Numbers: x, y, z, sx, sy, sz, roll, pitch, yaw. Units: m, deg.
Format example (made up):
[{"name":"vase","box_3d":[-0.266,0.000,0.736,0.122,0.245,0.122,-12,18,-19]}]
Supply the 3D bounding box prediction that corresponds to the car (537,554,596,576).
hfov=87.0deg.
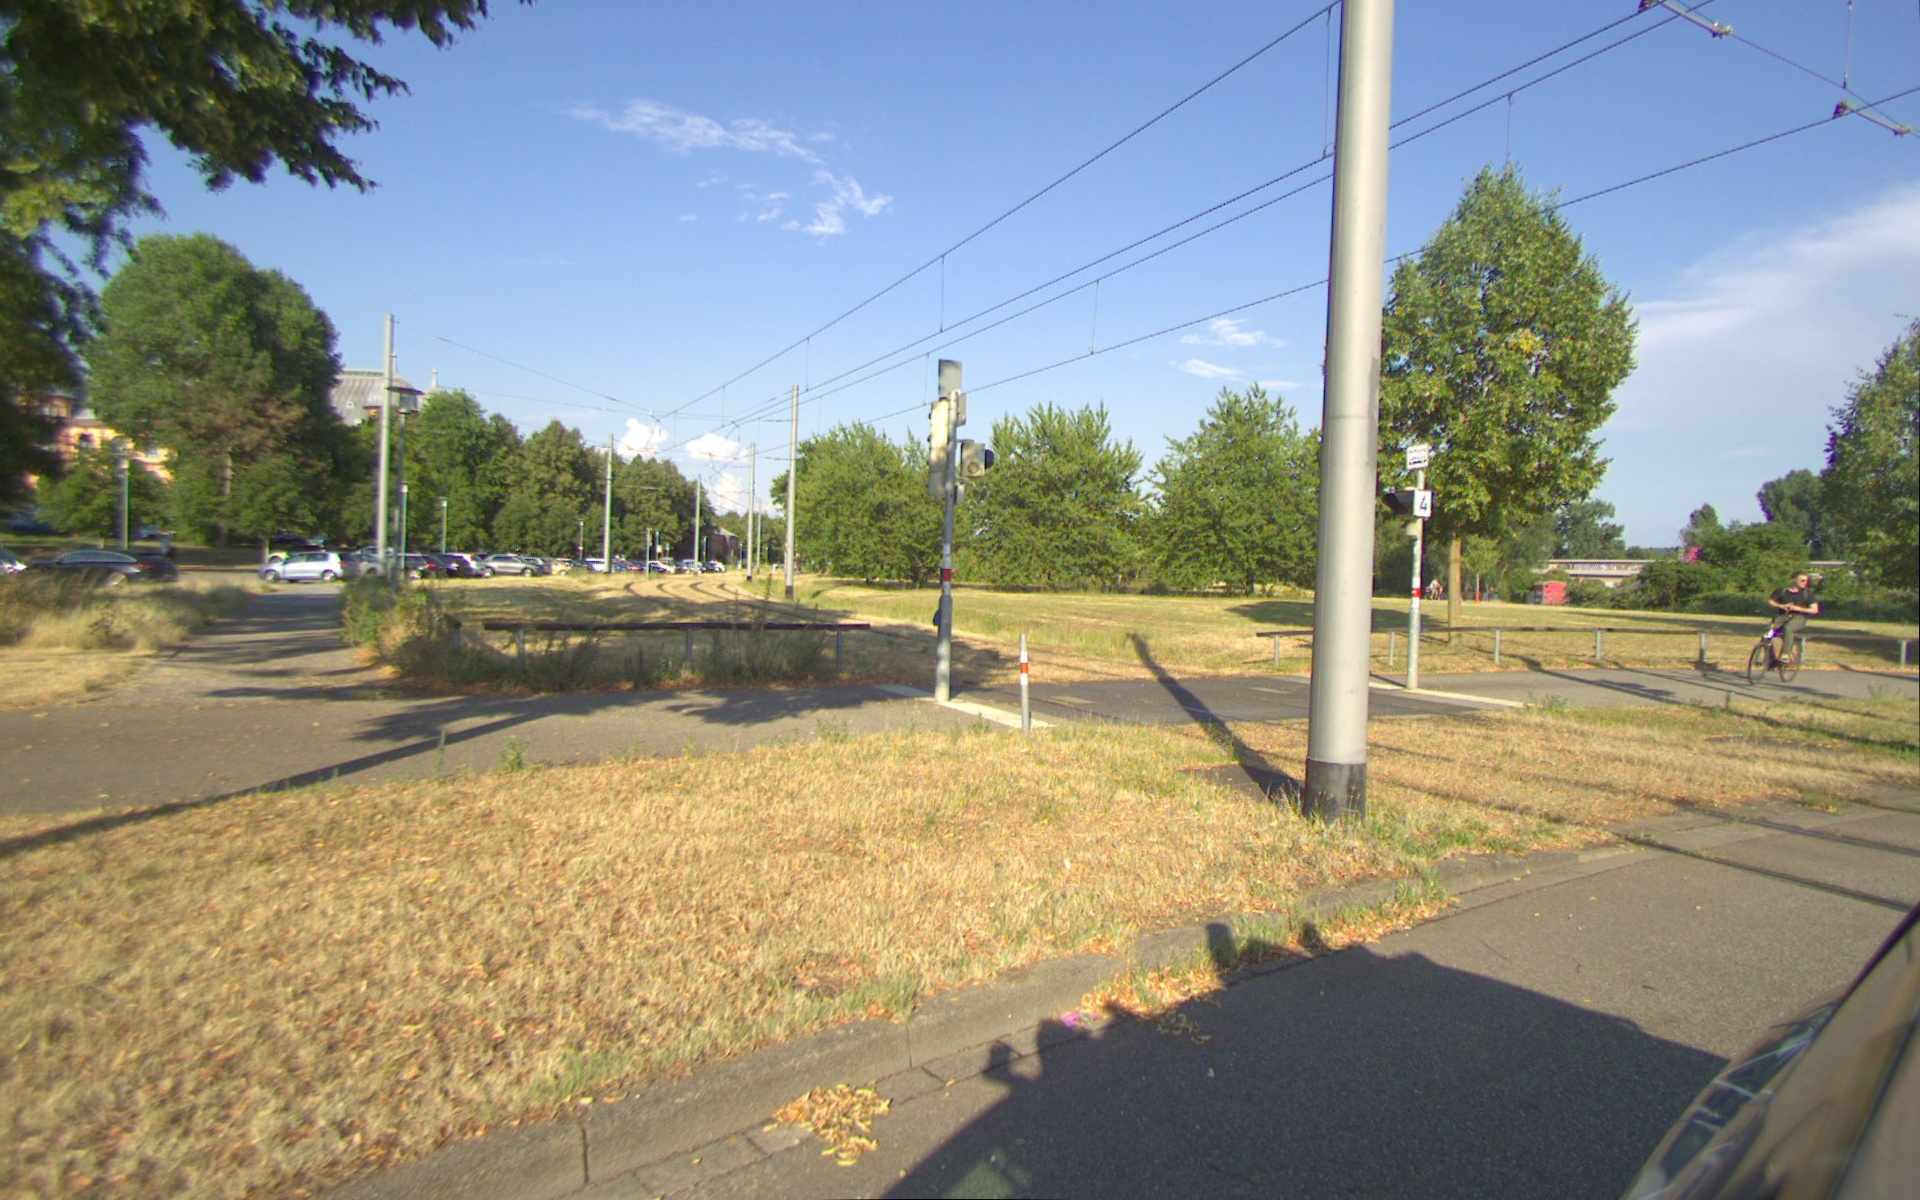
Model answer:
[{"name":"car","box_3d":[-30.731,-2.725,79.054,3.922,1.588,1.829,2,2,-2]}]

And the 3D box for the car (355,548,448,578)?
[{"name":"car","box_3d":[-29.644,-1.968,53.759,3.922,1.420,1.829,2,2,-2]}]

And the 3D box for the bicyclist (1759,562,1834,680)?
[{"name":"bicyclist","box_3d":[13.716,0.330,16.595,0.814,1.852,0.621,1,3,-34]}]

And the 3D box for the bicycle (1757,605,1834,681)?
[{"name":"bicycle","box_3d":[13.735,0.686,16.618,1.854,1.172,0.416,0,3,-34]}]

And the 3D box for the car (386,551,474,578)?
[{"name":"car","box_3d":[-29.546,-1.979,56.491,3.922,1.420,1.829,2,2,-2]}]

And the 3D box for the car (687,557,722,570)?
[{"name":"car","box_3d":[-32.172,-4.581,127.491,3.922,1.420,1.829,2,2,-2]}]

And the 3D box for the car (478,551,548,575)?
[{"name":"car","box_3d":[-29.936,-2.473,67.835,3.922,1.420,1.829,2,2,-2]}]

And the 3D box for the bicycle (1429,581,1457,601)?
[{"name":"bicycle","box_3d":[36.383,-0.707,76.248,0.385,1.468,1.944,1,0,-33]}]

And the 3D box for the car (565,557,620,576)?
[{"name":"car","box_3d":[-30.356,-2.777,83.681,3.922,1.420,1.829,2,2,-2]}]

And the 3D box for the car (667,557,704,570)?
[{"name":"car","box_3d":[-32.384,-4.300,119.332,3.922,1.420,1.829,2,2,-2]}]

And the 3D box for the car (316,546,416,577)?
[{"name":"car","box_3d":[-29.757,-1.918,50.767,3.922,1.420,1.829,2,2,-2]}]

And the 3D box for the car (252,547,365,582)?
[{"name":"car","box_3d":[-29.630,-1.612,46.107,3.922,1.420,1.829,2,2,-2]}]

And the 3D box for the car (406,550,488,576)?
[{"name":"car","box_3d":[-30.005,-2.153,59.276,3.922,1.420,1.829,2,2,-2]}]

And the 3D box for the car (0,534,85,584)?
[{"name":"car","box_3d":[-28.395,-1.246,29.843,3.896,1.419,1.606,2,2,3]}]

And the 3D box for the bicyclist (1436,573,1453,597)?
[{"name":"bicyclist","box_3d":[36.446,-1.132,76.175,0.625,1.802,0.929,1,-1,-33]}]

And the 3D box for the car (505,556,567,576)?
[{"name":"car","box_3d":[-31.706,-2.543,75.778,3.922,1.420,1.829,2,2,-2]}]

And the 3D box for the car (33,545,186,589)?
[{"name":"car","box_3d":[-28.590,-1.110,34.066,3.896,1.326,1.606,2,2,3]}]

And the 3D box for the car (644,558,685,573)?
[{"name":"car","box_3d":[-31.789,-3.720,109.039,3.922,1.420,1.829,2,2,-2]}]

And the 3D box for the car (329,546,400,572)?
[{"name":"car","box_3d":[-41.879,-2.848,71.267,3.922,1.693,1.829,2,2,-2]}]

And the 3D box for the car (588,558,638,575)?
[{"name":"car","box_3d":[-31.380,-3.060,91.688,3.922,1.420,1.829,2,2,-2]}]

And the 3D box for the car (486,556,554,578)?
[{"name":"car","box_3d":[-30.506,-2.296,70.263,3.922,1.420,1.829,2,2,-2]}]

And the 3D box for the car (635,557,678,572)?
[{"name":"car","box_3d":[-31.723,-3.674,105.746,3.922,1.420,1.829,2,2,-2]}]

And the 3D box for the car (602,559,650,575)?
[{"name":"car","box_3d":[-31.344,-3.112,95.035,3.922,1.420,1.829,2,2,-2]}]

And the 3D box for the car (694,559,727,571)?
[{"name":"car","box_3d":[-32.129,-4.524,130.395,3.922,1.420,1.829,2,2,-2]}]
